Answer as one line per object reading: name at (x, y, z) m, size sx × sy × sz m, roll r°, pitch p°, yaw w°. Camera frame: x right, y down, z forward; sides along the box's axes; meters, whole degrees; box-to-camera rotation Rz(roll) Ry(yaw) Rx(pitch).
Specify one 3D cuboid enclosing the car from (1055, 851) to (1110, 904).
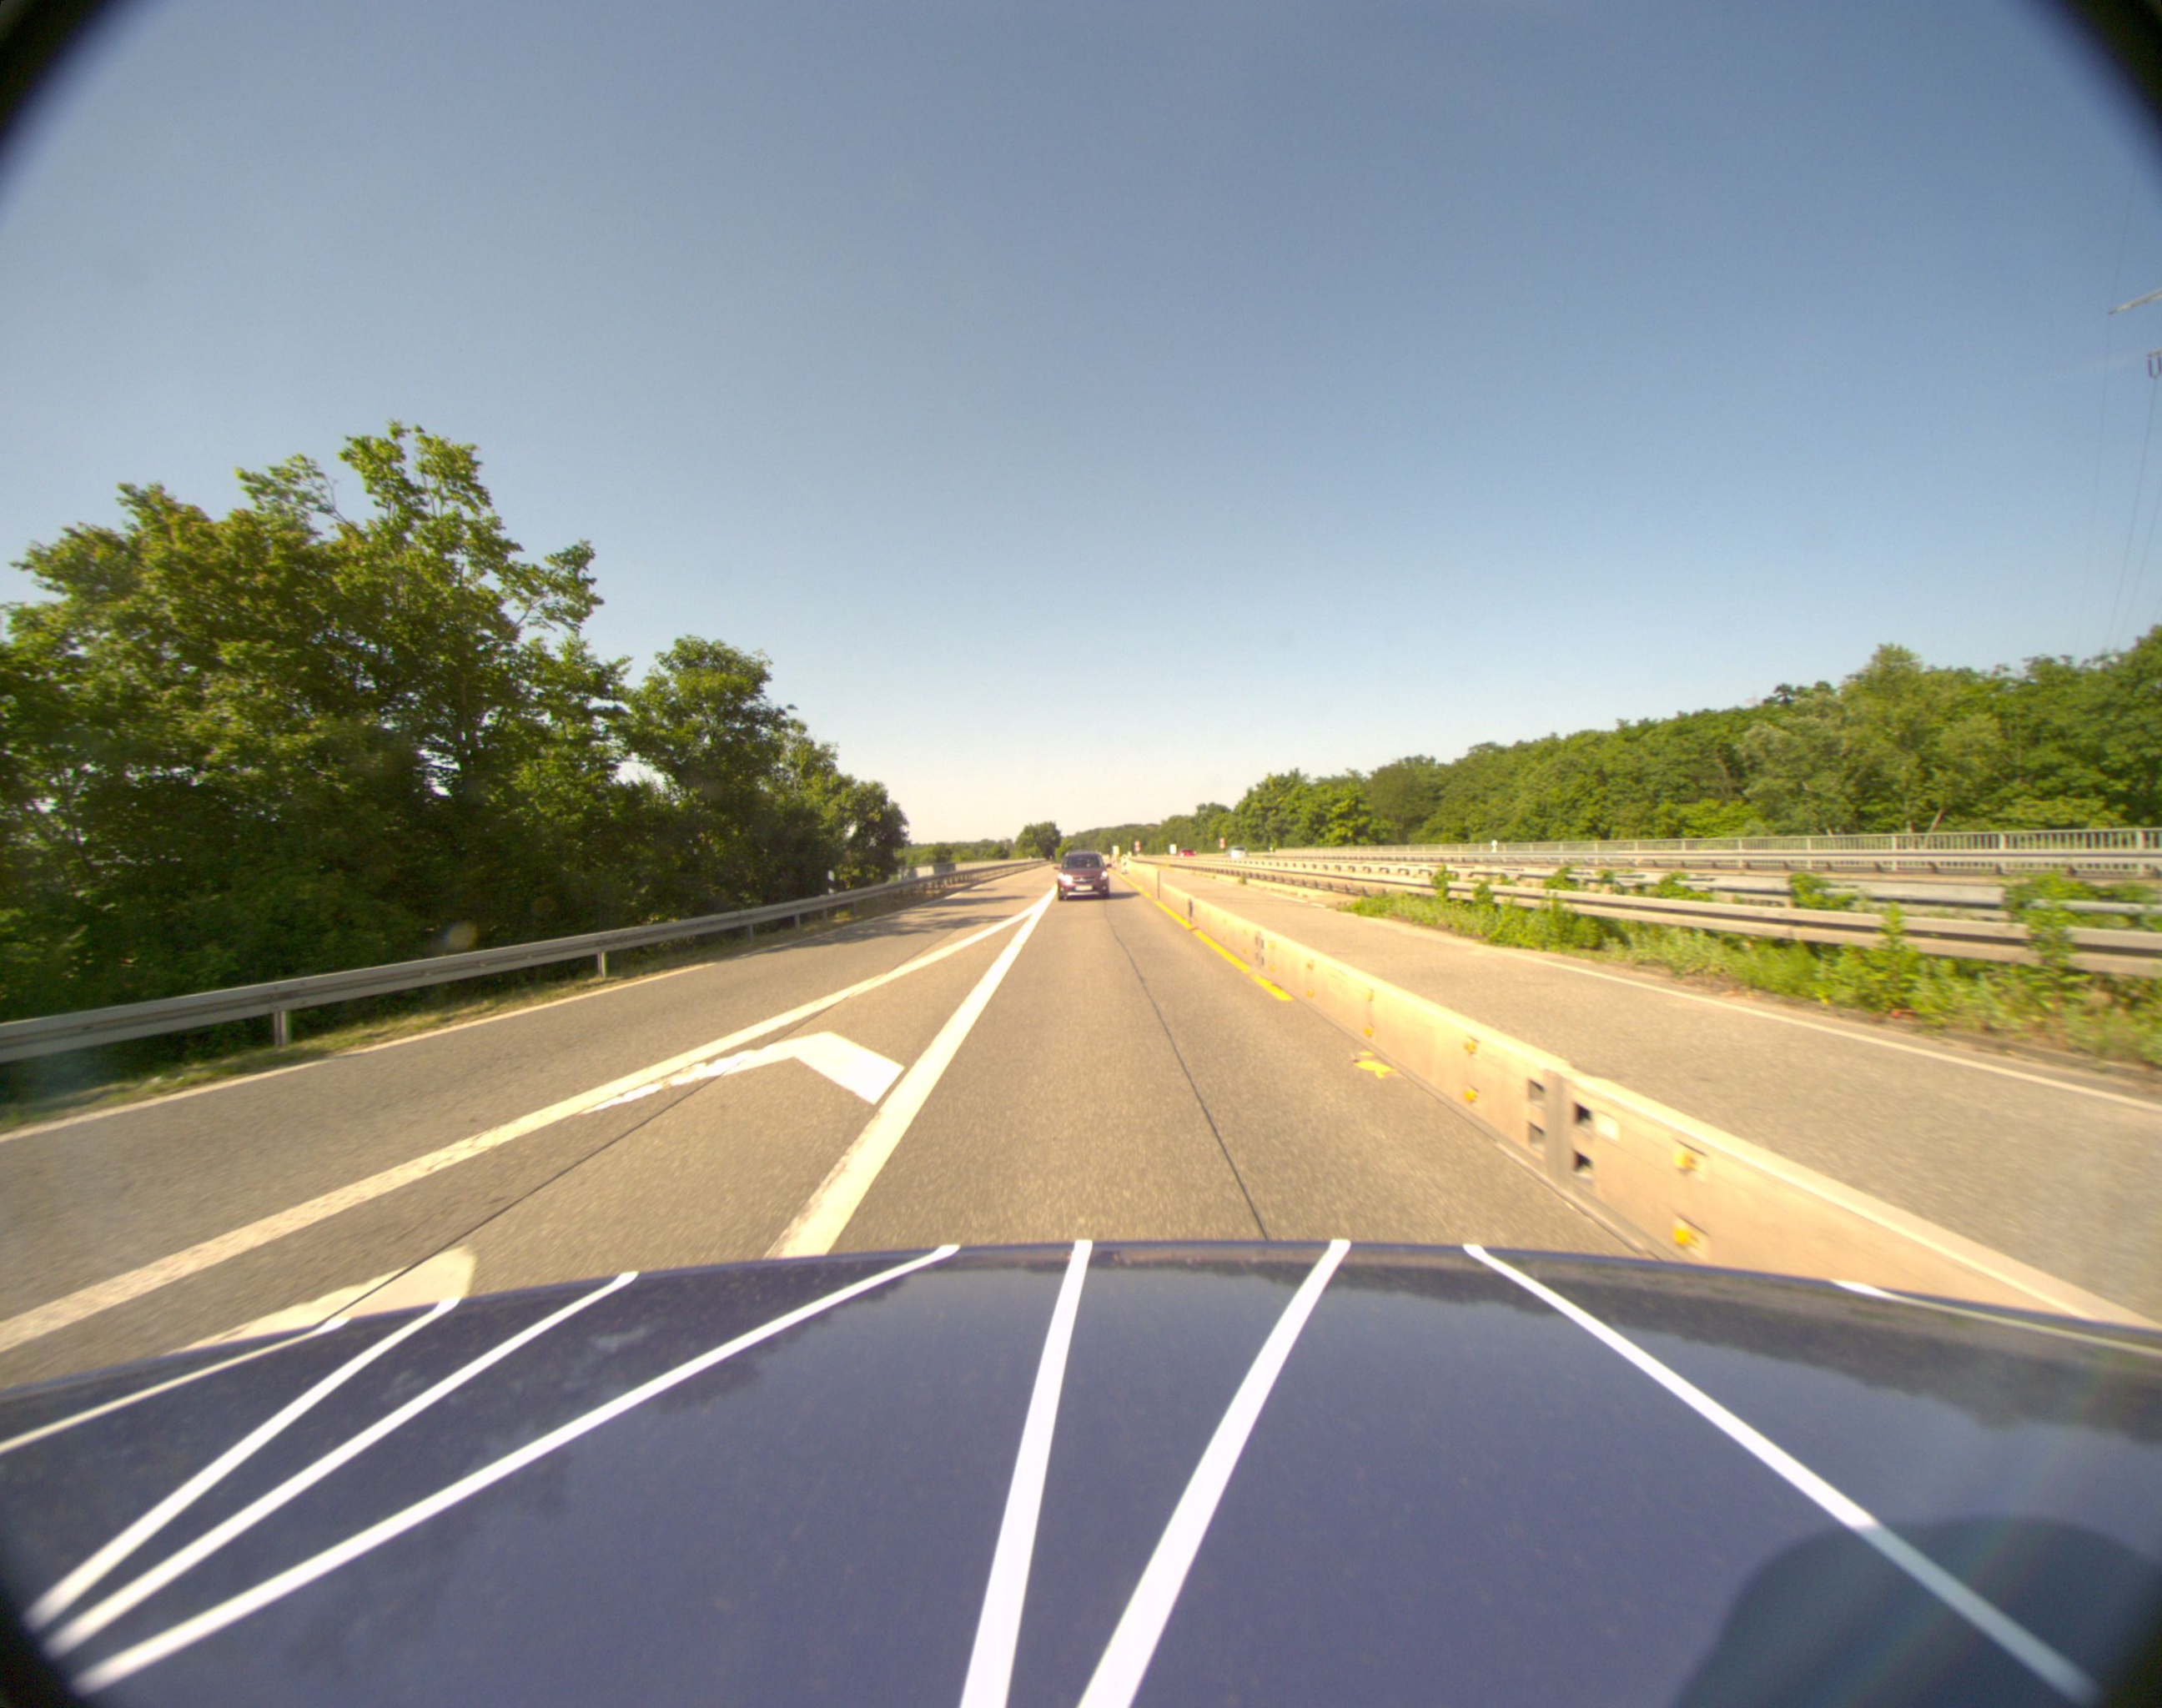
car at (0.138, 0.696, 25.222) m, size 1.587 × 1.491 × 4.415 m, roll -3°, pitch 1°, yaw 2°

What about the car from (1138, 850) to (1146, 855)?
car at (16.117, -0.341, 202.204) m, size 1.744 × 1.331 × 4.551 m, roll -3°, pitch 0°, yaw 0°

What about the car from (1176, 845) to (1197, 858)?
car at (11.724, -0.272, 84.496) m, size 1.718 × 1.389 × 4.220 m, roll -2°, pitch 0°, yaw 0°

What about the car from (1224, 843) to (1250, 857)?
car at (15.902, -0.402, 77.533) m, size 1.781 × 1.385 × 4.125 m, roll 0°, pitch 1°, yaw 0°
